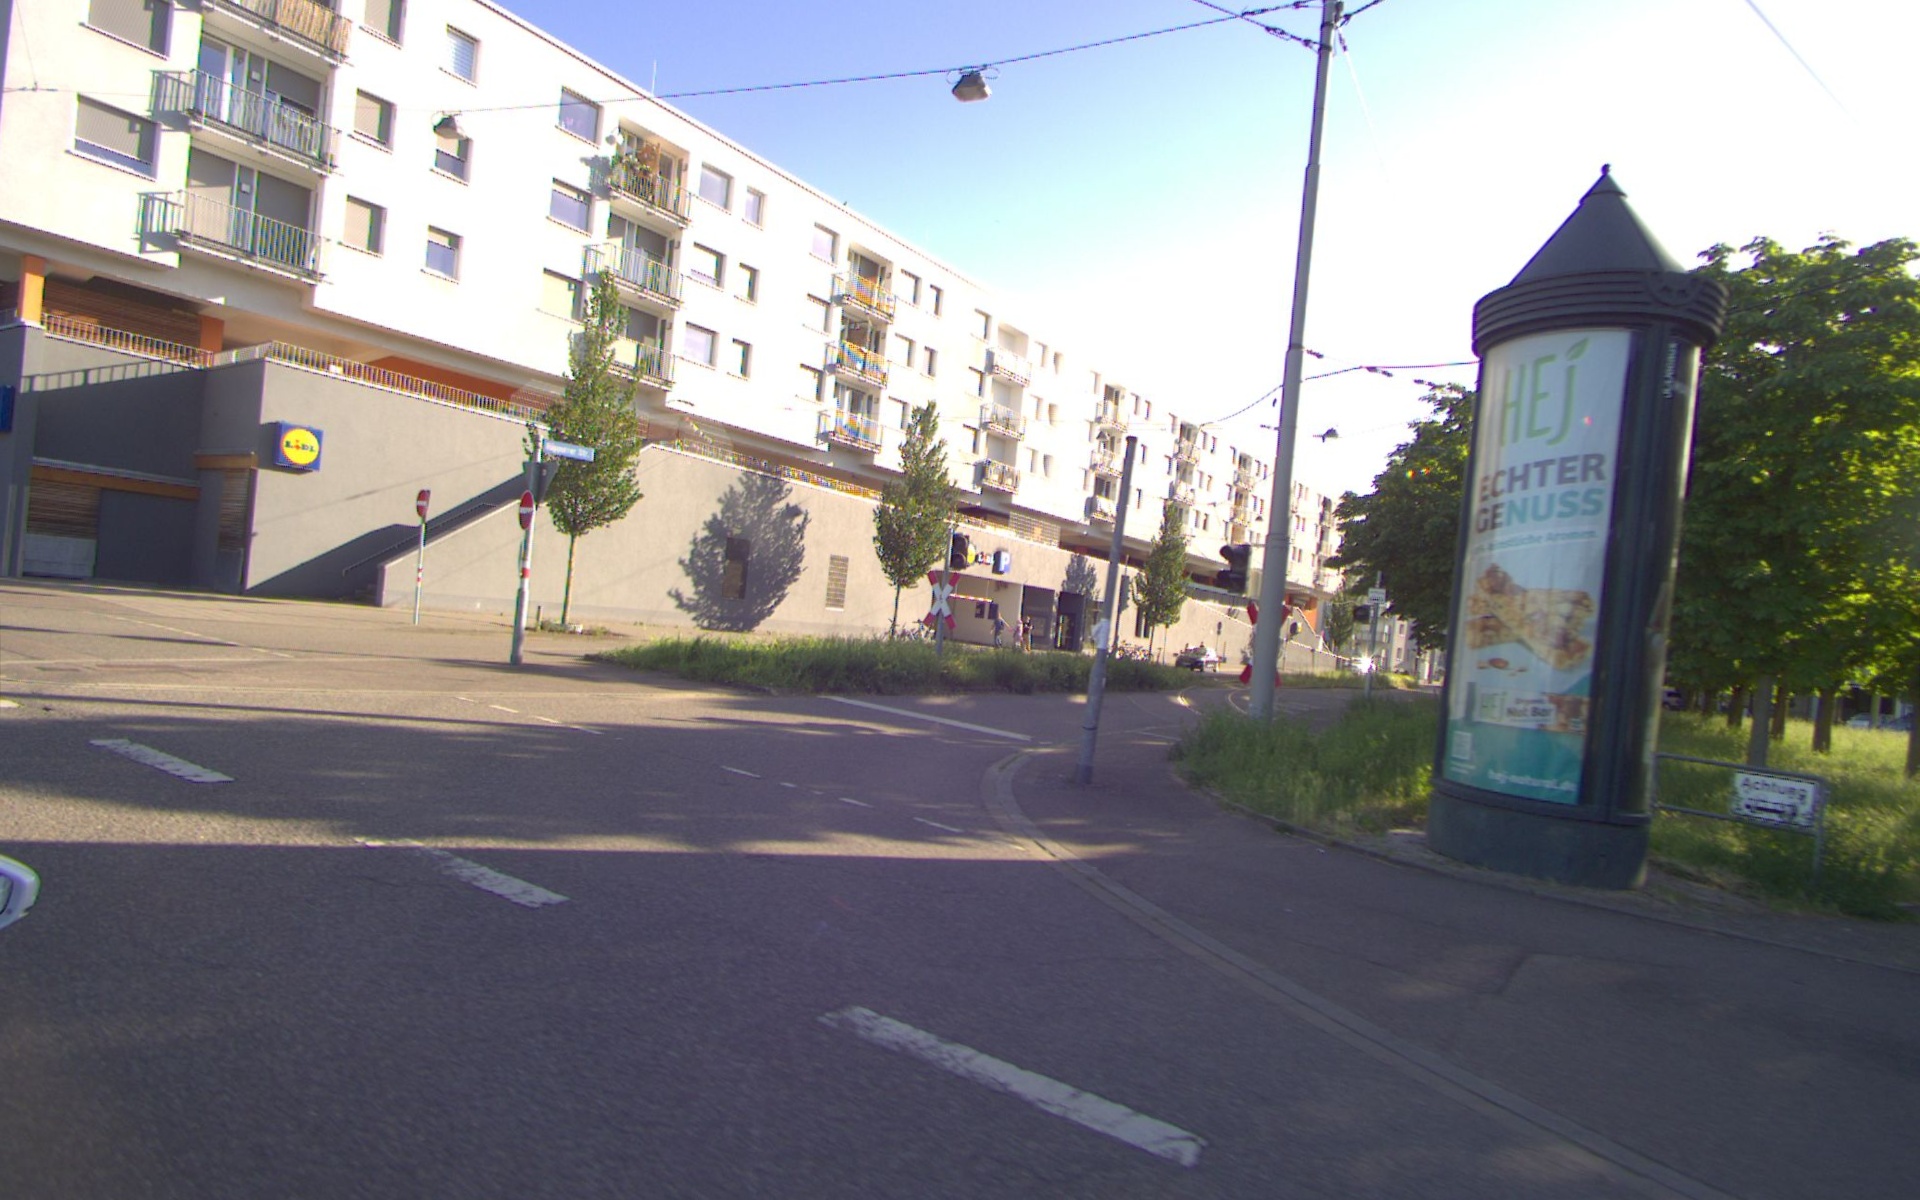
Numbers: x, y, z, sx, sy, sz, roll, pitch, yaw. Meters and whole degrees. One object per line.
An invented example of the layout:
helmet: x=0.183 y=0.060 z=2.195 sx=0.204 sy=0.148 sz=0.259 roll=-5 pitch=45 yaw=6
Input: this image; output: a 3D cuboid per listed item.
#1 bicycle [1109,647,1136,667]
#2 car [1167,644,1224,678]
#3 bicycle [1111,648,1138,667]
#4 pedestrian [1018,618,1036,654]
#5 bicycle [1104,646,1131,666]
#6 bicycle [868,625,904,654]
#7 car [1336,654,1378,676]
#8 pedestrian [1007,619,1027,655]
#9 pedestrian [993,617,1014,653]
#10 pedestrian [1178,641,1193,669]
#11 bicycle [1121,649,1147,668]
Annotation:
bicycle: x=9.273 y=3.241 z=57.375 sx=1.435 sy=0.981 sz=0.480 roll=3 pitch=-3 yaw=43
car: x=14.645 y=3.809 z=62.516 sx=1.969 sy=1.658 sz=3.991 roll=4 pitch=-4 yaw=35
bicycle: x=9.508 y=3.318 z=58.255 sx=1.435 sy=0.981 sz=0.480 roll=3 pitch=-3 yaw=43
pedestrian: x=3.539 y=1.910 z=53.088 sx=0.589 sy=1.852 sz=0.663 roll=5 pitch=-2 yaw=22
bicycle: x=8.920 y=3.183 z=57.035 sx=1.435 sy=0.981 sz=0.480 roll=3 pitch=-3 yaw=43
bicycle: x=-2.772 y=1.470 z=37.519 sx=0.479 sy=0.981 sz=1.438 roll=8 pitch=-3 yaw=-41
car: x=38.368 y=6.316 z=97.277 sx=3.969 sy=1.658 sz=1.981 roll=9 pitch=-4 yaw=-38
pedestrian: x=2.861 y=1.840 z=50.616 sx=0.658 sy=1.721 sz=0.593 roll=8 pitch=-3 yaw=-42
pedestrian: x=2.169 y=1.737 z=50.127 sx=0.658 sy=1.721 sz=0.593 roll=8 pitch=-3 yaw=-42
pedestrian: x=15.057 y=3.675 z=67.169 sx=0.652 sy=1.721 sz=0.599 roll=5 pitch=-2 yaw=30
bicycle: x=10.224 y=3.447 z=59.137 sx=1.435 sy=0.981 sz=0.480 roll=3 pitch=-3 yaw=43
